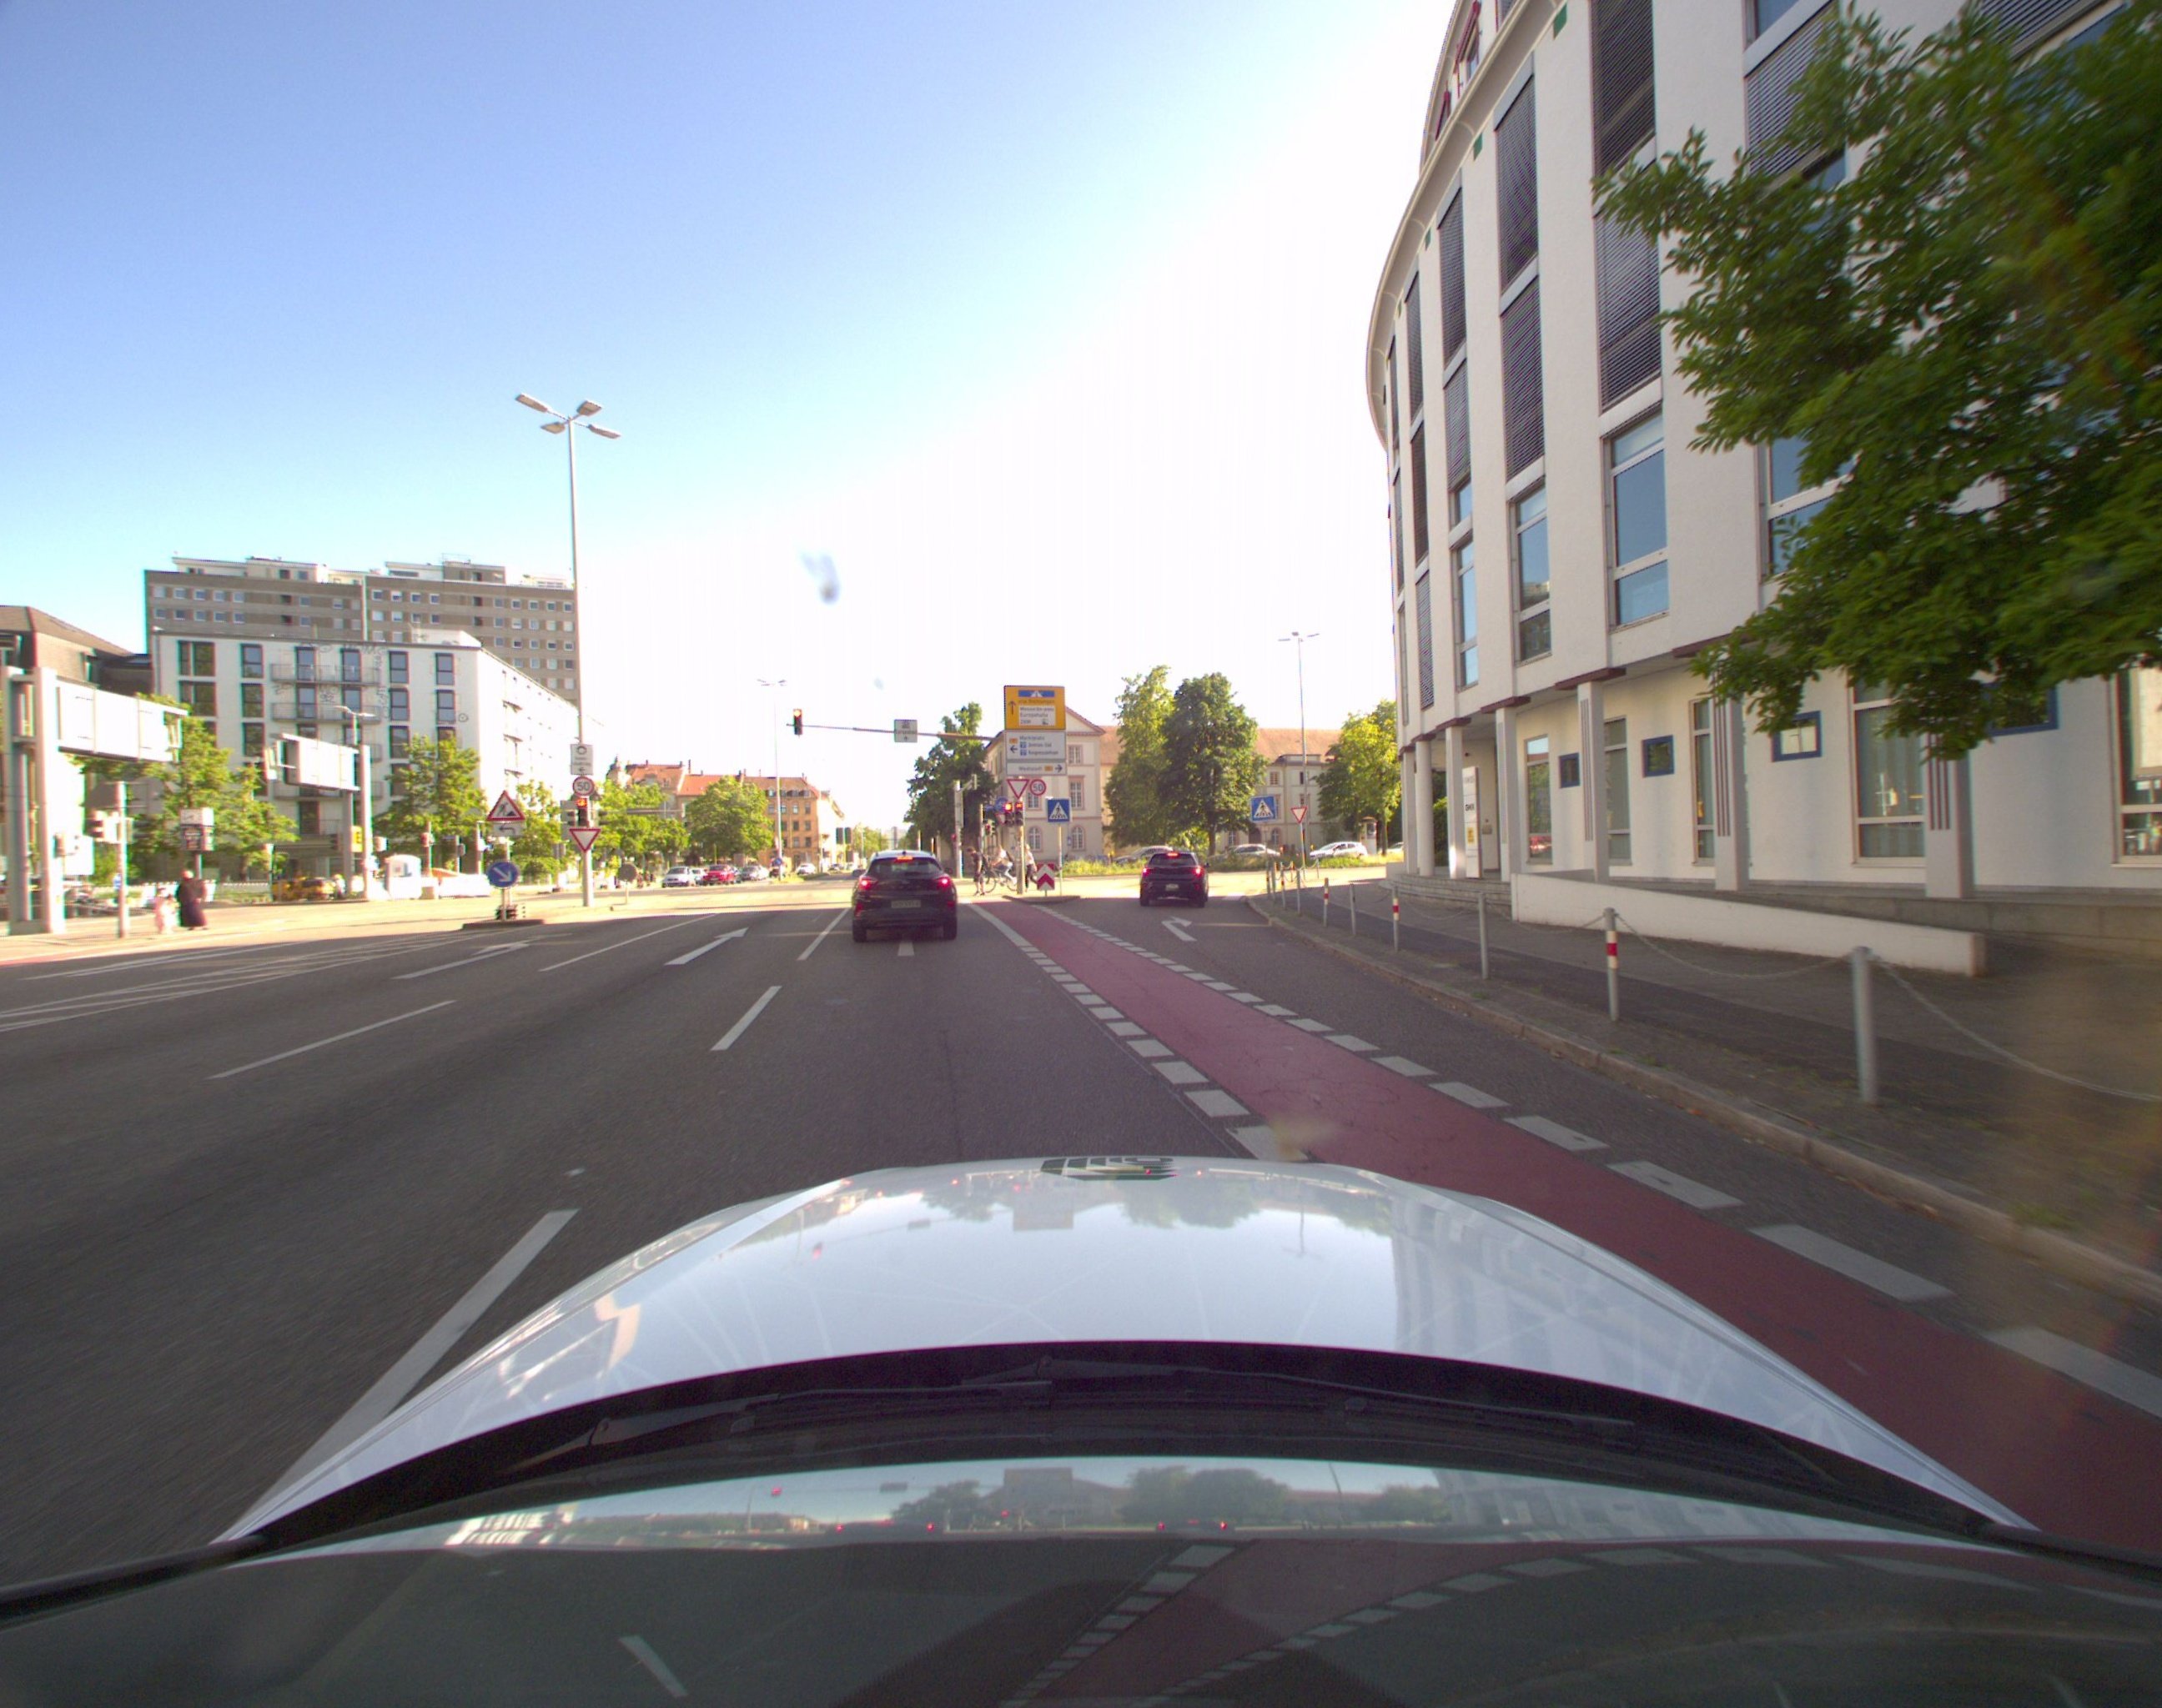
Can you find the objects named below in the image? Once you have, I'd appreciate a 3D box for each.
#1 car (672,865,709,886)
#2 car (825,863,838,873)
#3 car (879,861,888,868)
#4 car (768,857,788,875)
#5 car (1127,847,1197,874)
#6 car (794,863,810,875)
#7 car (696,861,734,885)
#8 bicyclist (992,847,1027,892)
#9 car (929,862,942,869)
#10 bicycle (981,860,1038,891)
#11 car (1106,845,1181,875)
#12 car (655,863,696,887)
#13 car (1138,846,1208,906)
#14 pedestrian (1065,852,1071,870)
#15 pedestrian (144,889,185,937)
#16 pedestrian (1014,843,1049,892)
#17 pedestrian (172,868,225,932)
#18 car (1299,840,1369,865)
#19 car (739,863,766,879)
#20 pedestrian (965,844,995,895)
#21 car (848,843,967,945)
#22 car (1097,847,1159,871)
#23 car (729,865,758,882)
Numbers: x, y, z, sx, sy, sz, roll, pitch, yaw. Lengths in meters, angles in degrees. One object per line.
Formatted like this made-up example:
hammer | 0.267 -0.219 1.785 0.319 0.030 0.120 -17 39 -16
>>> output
car | -32.300 1.765 67.454 1.877 1.617 3.982 -2 0 -13
car | -43.127 2.422 140.775 1.813 1.634 3.982 -2 0 -13
car | -42.478 2.292 175.549 1.813 1.448 3.982 -2 0 -13
car | -38.025 1.516 102.419 1.813 2.134 3.982 -2 0 -13
car | 5.292 0.417 53.082 4.128 1.601 1.810 -2 0 -20
car | -41.649 2.274 121.532 1.813 1.634 3.982 -2 0 -13
car | -27.184 1.410 60.605 1.793 1.617 3.982 -2 0 -13
bicyclist | -2.658 0.554 30.411 1.167 1.633 0.725 -1 0 -16
car | -31.152 2.509 174.366 1.802 1.407 4.005 -2 0 5
bicycle | -2.681 0.791 30.418 2.035 1.061 0.618 -1 0 -16
car | 3.763 0.355 48.938 4.128 1.601 1.810 -2 0 -20
car | -30.552 1.536 61.522 1.877 1.617 3.982 -2 0 -13
car | 2.702 0.589 23.259 1.734 1.573 3.568 -1 0 10
pedestrian | -1.165 0.601 70.894 0.440 1.615 0.466 1 -1 -7
pedestrian | -23.605 1.506 20.988 0.668 1.166 0.668 -2 0 43
pedestrian | -1.758 0.477 28.898 1.043 1.659 0.779 -2 0 -16
pedestrian | -23.912 1.227 22.063 0.667 1.649 0.837 -2 0 33
car | 16.805 -0.105 54.200 4.188 1.508 1.810 -2 0 -20
car | -32.922 1.722 81.750 1.877 1.448 3.982 -2 0 -13
pedestrian | -3.459 0.528 27.786 0.828 1.702 0.912 -1 0 -19
car | -3.231 0.633 15.081 1.832 1.578 3.822 -2 0 -13
car | 3.405 0.333 59.136 4.128 1.601 1.810 -2 0 -20
car | -31.559 1.805 76.290 1.877 1.448 3.982 -2 0 -13
